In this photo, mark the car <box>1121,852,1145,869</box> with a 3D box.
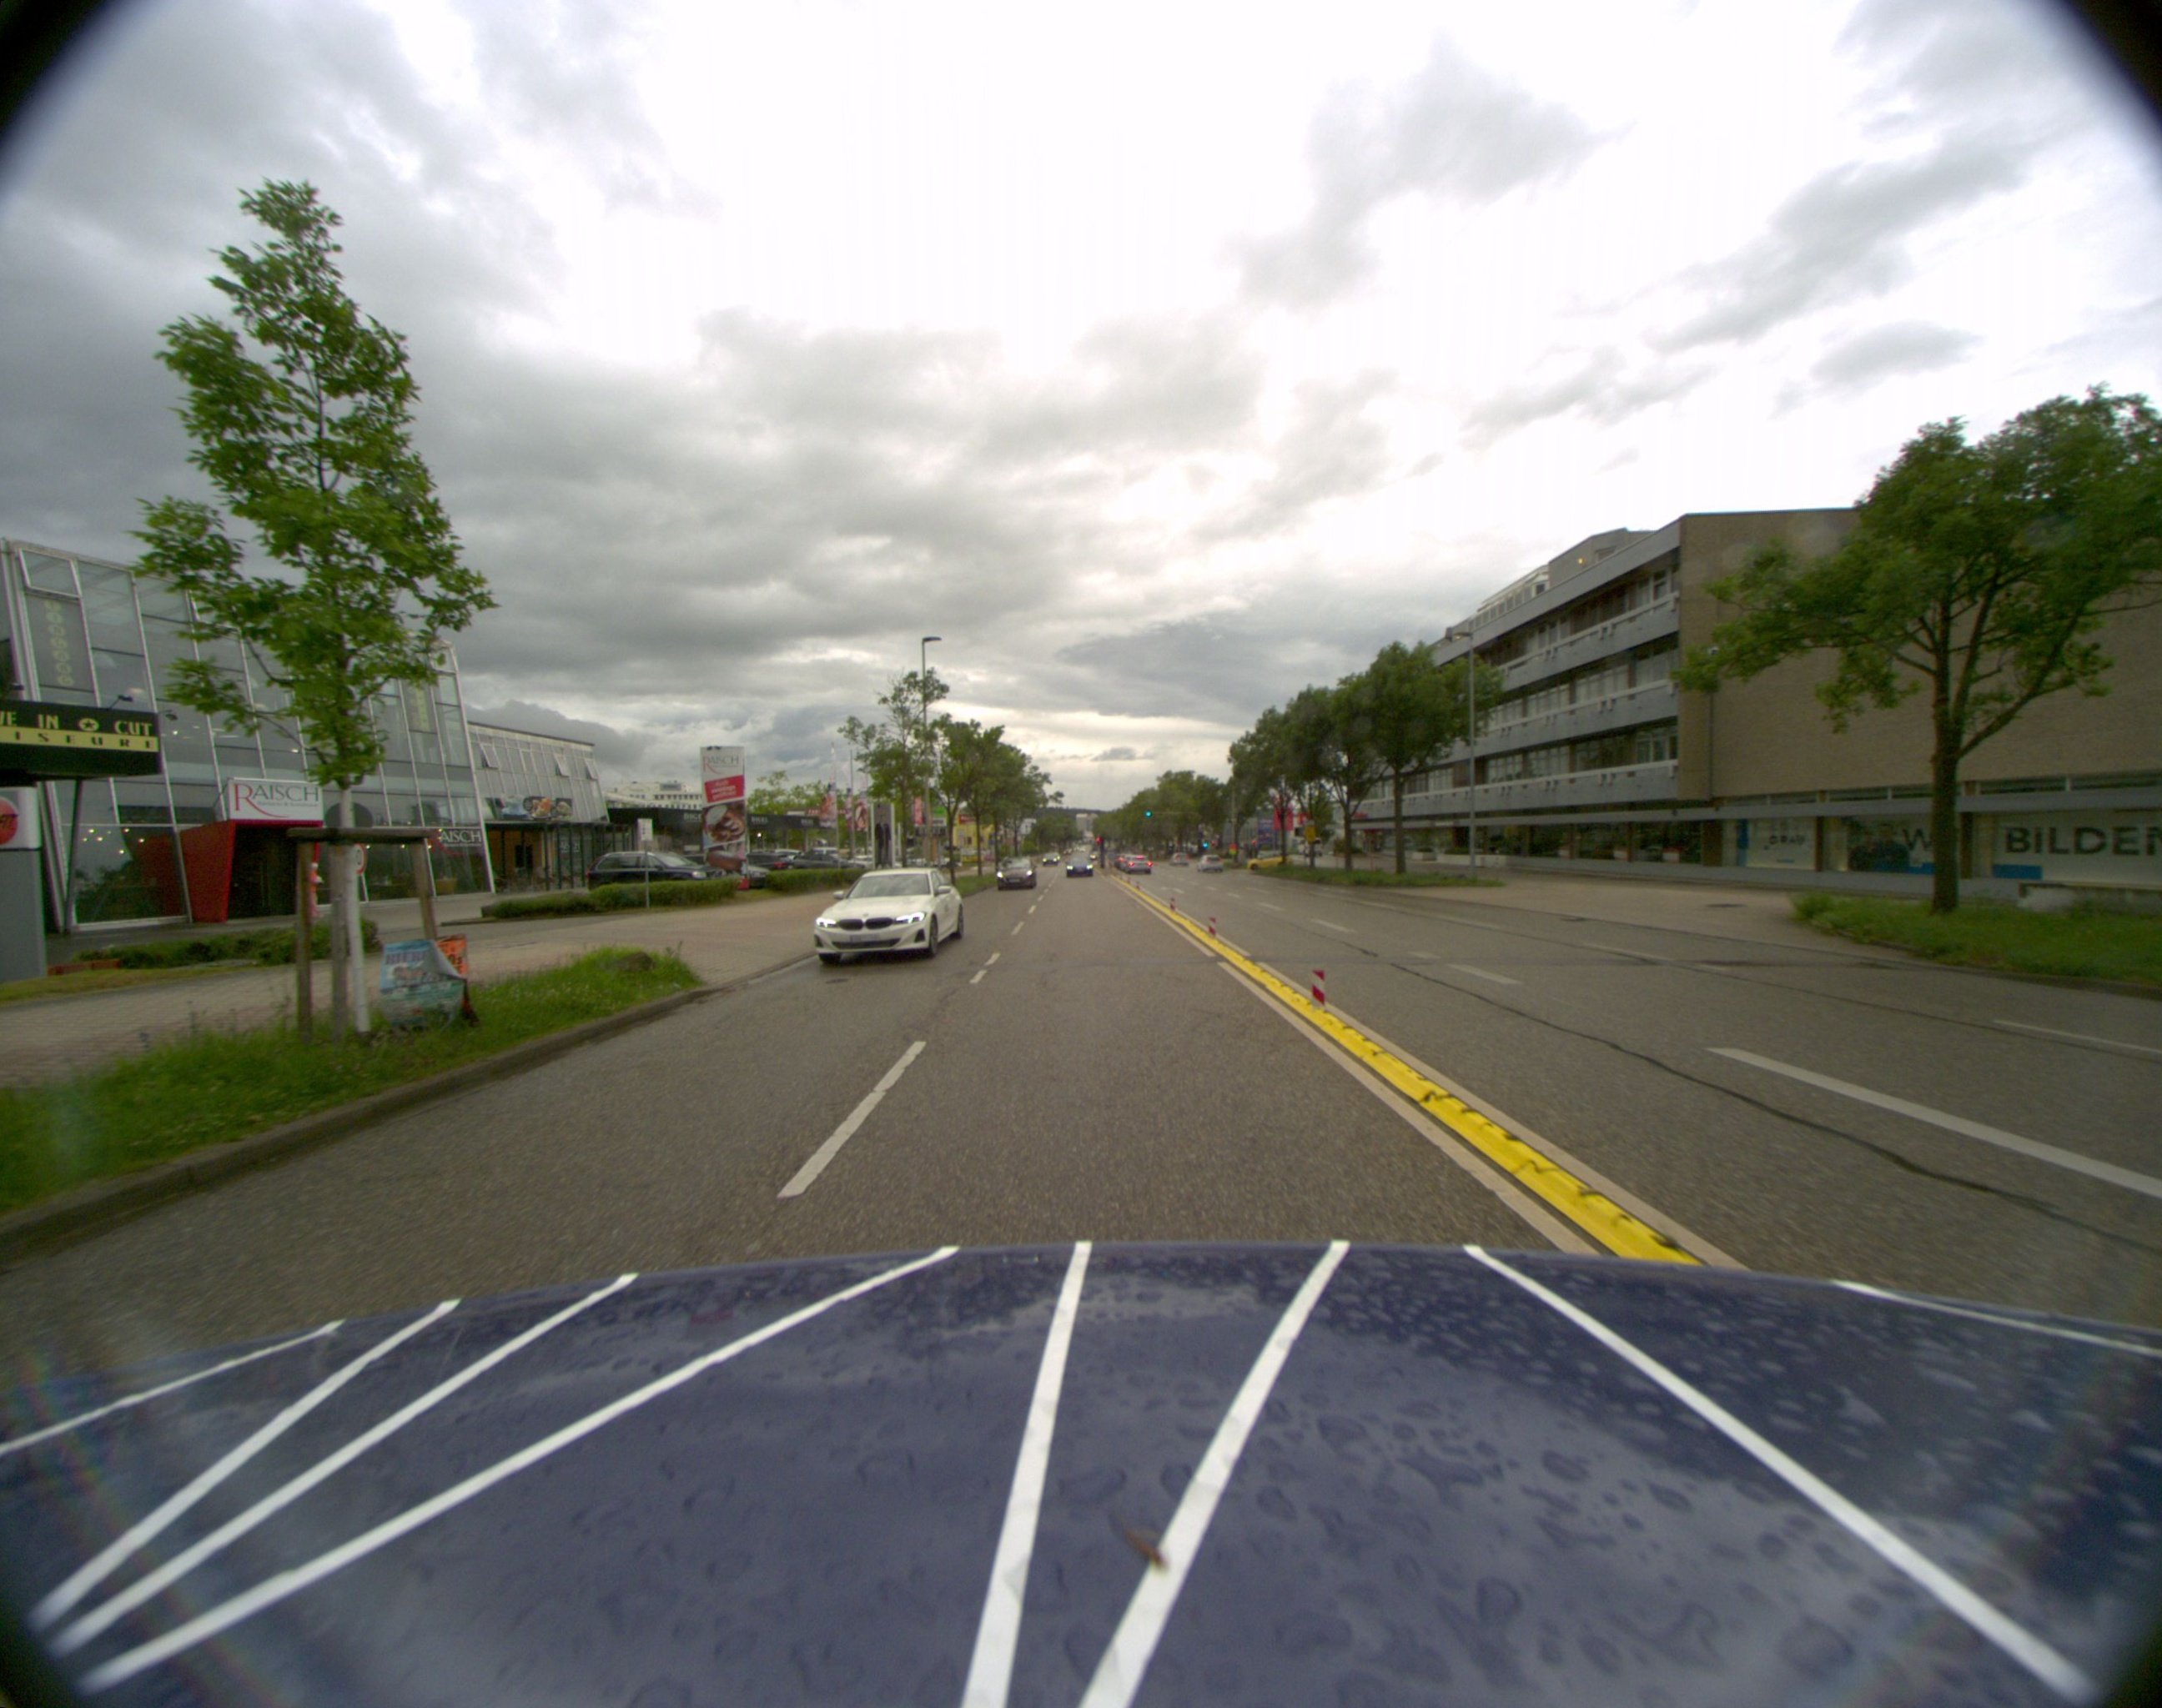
[{"bbox_3d":[4.492,0.507,65.906,1.745,1.398,3.999,0,0,-1],"label":"car"}]

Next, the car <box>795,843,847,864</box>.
[{"bbox_3d":[-24.065,-0.038,70.273,4.125,1.736,1.794,1,2,-44],"label":"car"}]

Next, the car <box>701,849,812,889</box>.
[{"bbox_3d":[-14.381,0.644,33.802,4.178,1.591,1.800,2,1,3],"label":"car"}]

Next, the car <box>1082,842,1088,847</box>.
[{"bbox_3d":[1.328,-3.044,245.067,1.753,1.501,4.000,0,0,1],"label":"car"}]

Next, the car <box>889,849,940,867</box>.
[{"bbox_3d":[-15.214,0.387,69.439,4.186,1.570,1.738,1,1,-38],"label":"car"}]

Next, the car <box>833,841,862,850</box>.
[{"bbox_3d":[-46.279,-1.694,150.656,5.093,1.787,2.034,0,1,0],"label":"car"}]

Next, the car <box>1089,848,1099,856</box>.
[{"bbox_3d":[2.469,-0.316,140.904,1.754,1.501,3.999,0,0,0],"label":"car"}]

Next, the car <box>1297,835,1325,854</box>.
[{"bbox_3d":[25.315,-1.067,83.791,1.998,2.002,4.886,2,1,5],"label":"car"}]

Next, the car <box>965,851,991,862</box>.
[{"bbox_3d":[-16.985,0.410,125.153,4.001,1.802,1.766,-1,1,-11],"label":"car"}]

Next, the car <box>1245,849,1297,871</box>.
[{"bbox_3d":[15.654,0.488,62.617,3.702,1.500,1.624,-4,2,35],"label":"car"}]

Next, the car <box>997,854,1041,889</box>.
[{"bbox_3d":[-3.090,0.860,38.551,1.799,1.572,4.218,-3,0,0],"label":"car"}]

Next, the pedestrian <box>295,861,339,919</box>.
[{"bbox_3d":[-23.858,1.108,23.734,0.683,1.750,0.751,0,3,32],"label":"pedestrian"}]

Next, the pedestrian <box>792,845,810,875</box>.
[{"bbox_3d":[-16.875,0.362,45.786,0.633,1.779,0.851,-3,1,-1],"label":"pedestrian"}]

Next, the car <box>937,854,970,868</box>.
[{"bbox_3d":[-16.379,0.860,97.620,3.999,1.502,1.741,-2,3,-5],"label":"car"}]

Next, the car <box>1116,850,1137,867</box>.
[{"bbox_3d":[4.323,0.396,72.473,1.754,1.516,3.999,0,0,0],"label":"car"}]

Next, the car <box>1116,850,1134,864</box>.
[{"bbox_3d":[4.765,0.305,82.618,1.754,1.501,3.999,0,0,0],"label":"car"}]

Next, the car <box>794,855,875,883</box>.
[{"bbox_3d":[-14.535,0.891,44.982,4.179,1.464,1.862,2,1,0],"label":"car"}]

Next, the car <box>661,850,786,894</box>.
[{"bbox_3d":[-14.421,0.691,30.794,4.178,1.591,1.828,2,1,3],"label":"car"}]

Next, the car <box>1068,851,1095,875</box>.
[{"bbox_3d":[-0.003,0.609,54.938,1.799,1.572,4.218,-3,0,0],"label":"car"}]

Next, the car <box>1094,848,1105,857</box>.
[{"bbox_3d":[3.189,-0.242,128.833,1.754,1.501,3.999,0,0,0],"label":"car"}]

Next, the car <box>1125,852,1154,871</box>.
[{"bbox_3d":[4.497,0.570,58.959,1.788,1.398,4.616,0,0,-1],"label":"car"}]

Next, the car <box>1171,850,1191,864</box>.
[{"bbox_3d":[11.608,0.341,88.107,1.745,1.544,4.781,0,1,1],"label":"car"}]

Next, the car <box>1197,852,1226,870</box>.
[{"bbox_3d":[10.991,0.579,64.317,1.745,1.398,4.468,0,1,1],"label":"car"}]

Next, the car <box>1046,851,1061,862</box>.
[{"bbox_3d":[-3.618,0.337,100.677,1.754,1.501,3.999,0,0,0],"label":"car"}]

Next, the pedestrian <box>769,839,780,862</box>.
[{"bbox_3d":[-27.217,-0.307,67.533,0.613,2.002,0.657,-3,1,0],"label":"pedestrian"}]

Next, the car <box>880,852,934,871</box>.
[{"bbox_3d":[-14.443,0.639,63.172,4.028,1.429,1.738,1,1,-43],"label":"car"}]

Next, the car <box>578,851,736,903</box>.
[{"bbox_3d":[-14.815,0.750,26.655,4.663,1.591,1.928,2,1,11],"label":"car"}]

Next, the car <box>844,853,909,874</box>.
[{"bbox_3d":[-15.002,0.690,55.826,4.191,1.464,1.785,1,1,-36],"label":"car"}]

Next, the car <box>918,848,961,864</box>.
[{"bbox_3d":[-15.126,0.211,81.331,1.738,1.570,4.324,2,1,44],"label":"car"}]

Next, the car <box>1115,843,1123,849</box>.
[{"bbox_3d":[9.902,-2.069,197.847,1.754,1.566,3.999,0,0,0],"label":"car"}]

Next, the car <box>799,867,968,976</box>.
[{"bbox_3d":[-3.279,1.053,13.610,1.808,1.432,4.541,-3,0,0],"label":"car"}]

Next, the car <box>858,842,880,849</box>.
[{"bbox_3d":[-45.315,-1.856,162.564,4.221,1.572,1.823,0,1,0],"label":"car"}]

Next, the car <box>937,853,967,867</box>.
[{"bbox_3d":[-15.092,0.676,88.502,1.747,1.570,3.864,0,-1,-40],"label":"car"}]

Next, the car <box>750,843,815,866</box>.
[{"bbox_3d":[-23.741,0.021,60.500,4.507,1.672,1.794,1,2,-38],"label":"car"}]
